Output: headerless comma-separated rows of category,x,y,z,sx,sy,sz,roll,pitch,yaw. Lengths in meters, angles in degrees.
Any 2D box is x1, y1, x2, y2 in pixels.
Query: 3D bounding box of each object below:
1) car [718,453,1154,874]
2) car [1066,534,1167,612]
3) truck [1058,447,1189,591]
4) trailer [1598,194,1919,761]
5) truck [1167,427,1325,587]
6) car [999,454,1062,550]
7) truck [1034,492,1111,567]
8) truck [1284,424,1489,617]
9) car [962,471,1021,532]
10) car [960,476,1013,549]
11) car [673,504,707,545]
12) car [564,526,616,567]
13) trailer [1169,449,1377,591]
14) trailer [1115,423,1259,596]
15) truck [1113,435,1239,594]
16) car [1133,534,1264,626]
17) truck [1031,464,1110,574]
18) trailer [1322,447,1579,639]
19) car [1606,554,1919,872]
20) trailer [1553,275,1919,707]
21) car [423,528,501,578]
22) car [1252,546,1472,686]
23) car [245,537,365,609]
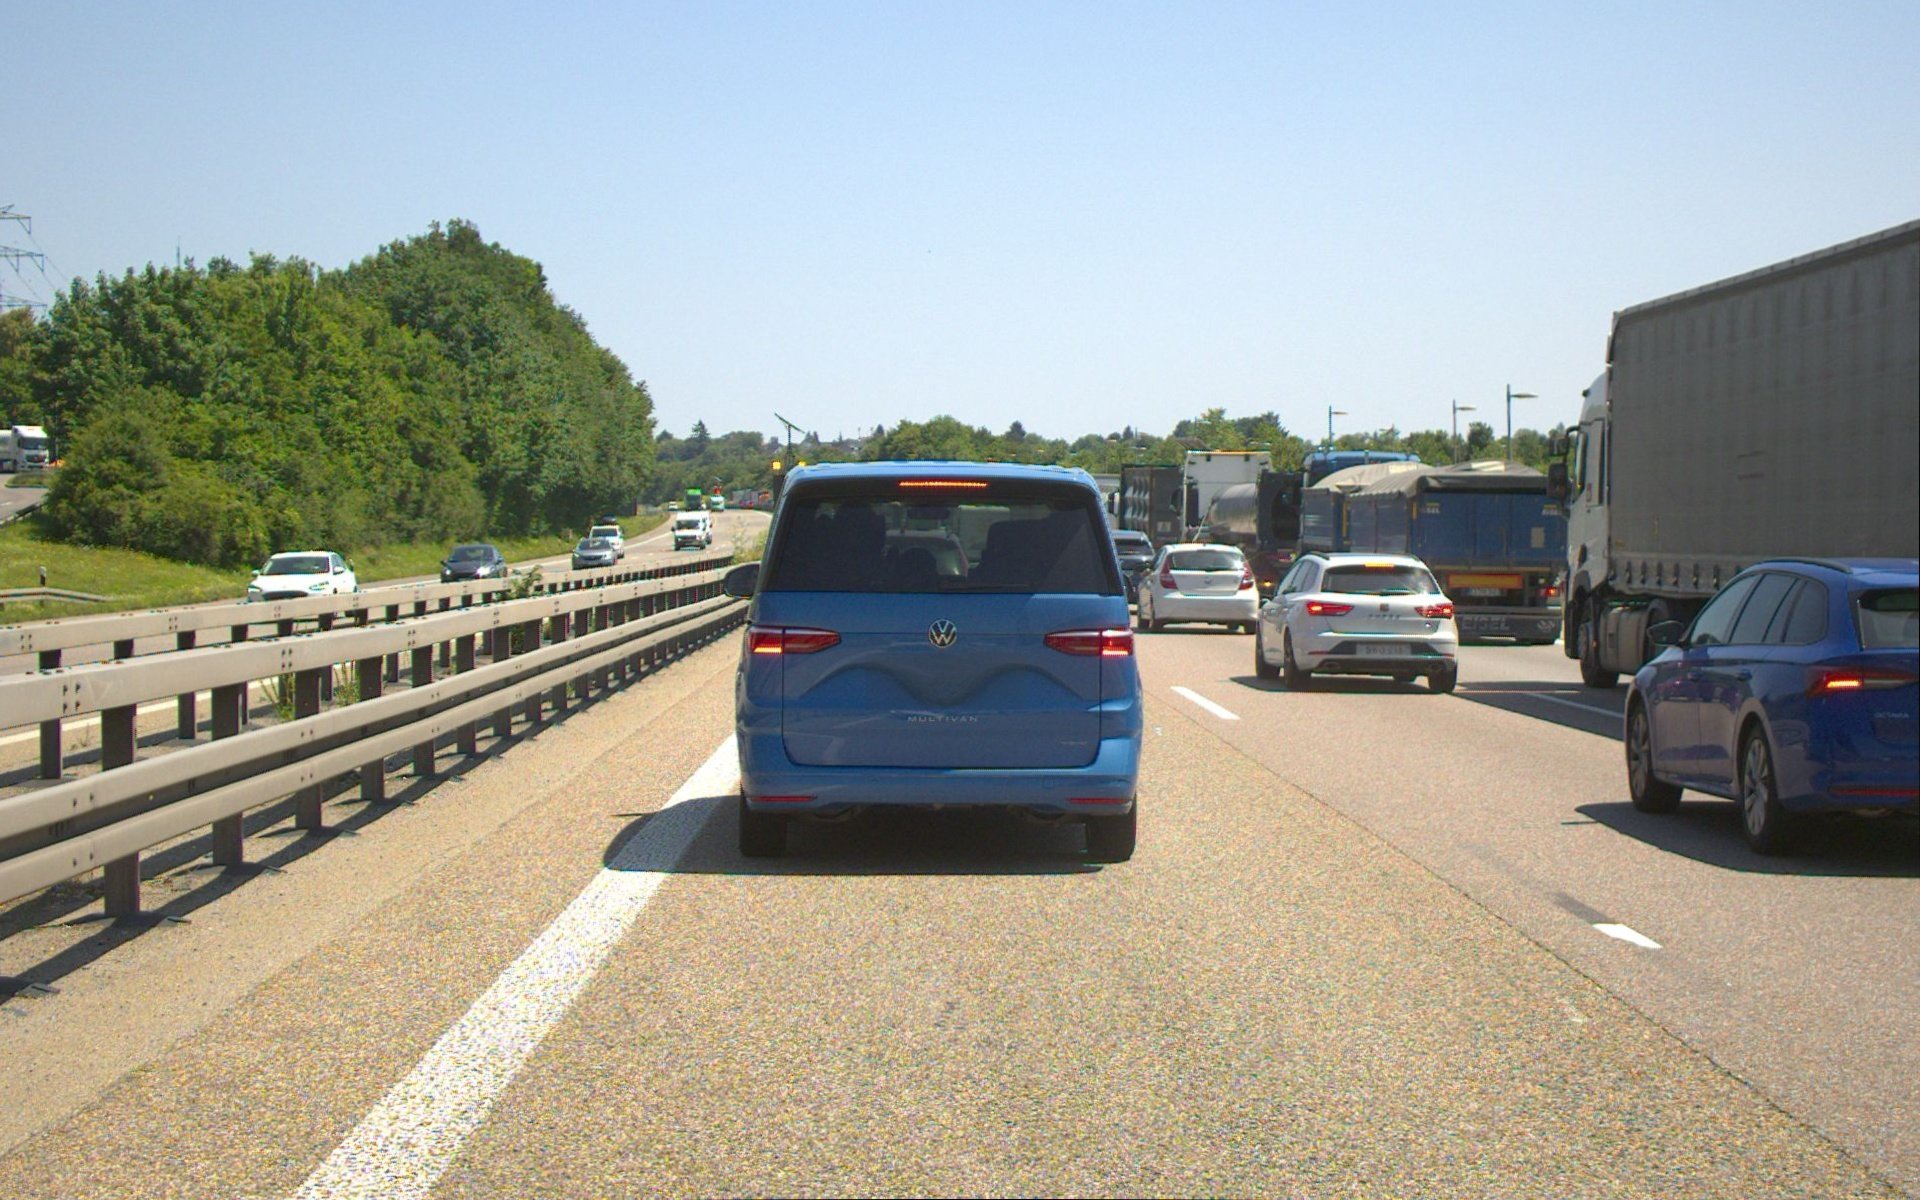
car,-0.092,0.267,17.314,1.901,1.831,4.000,1,0,0
car,3.170,-0.552,70.410,1.781,1.519,4.000,1,0,-1
truck,6.219,-3.023,133.758,3.621,5.195,15.690,1,0,-2
trailer,8.262,-0.950,29.058,2.962,4.035,13.753,1,1,-1
truck,7.646,-2.439,93.042,3.626,4.080,7.524,1,0,1
car,4.003,-5.572,197.116,3.218,5.239,8.144,1,0,-1
truck,2.898,-1.805,89.232,1.725,1.851,4.000,1,0,-1
truck,7.781,-1.505,63.617,2.743,3.300,7.133,1,2,-1
car,1.470,-4.629,162.243,2.550,2.708,5.622,1,0,-1
car,1.928,-6.461,254.922,3.218,5.239,8.145,1,0,-4
car,-18.649,-5.204,237.734,2.052,2.642,5.840,1,0,-2
car,-15.061,-2.168,139.970,1.773,1.625,3.951,1,0,-2
trailer,7.438,-1.841,84.228,3.646,3.068,15.772,1,0,0
trailer,7.134,-2.783,109.925,3.646,5.118,13.076,1,0,0
truck,7.261,-2.852,116.328,3.658,5.162,5.709,1,0,-1
car,3.968,-0.341,57.739,1.840,1.449,4.000,1,0,-1
truck,5.139,-3.717,161.482,3.068,4.903,10.691,1,0,-1
trailer,7.881,-1.011,56.446,2.743,2.827,9.116,1,2,-1
car,4.661,0.512,17.888,1.706,1.436,4.428,1,0,0
trailer,8.186,-1.094,35.423,2.924,4.030,6.411,1,1,-1
car,-15.205,-1.431,105.136,1.876,1.441,4.145,-1,1,-2
car,4.217,0.127,36.622,1.867,1.356,4.000,1,1,0
car,-13.841,-0.569,72.862,1.850,1.462,4.305,-1,0,-2
